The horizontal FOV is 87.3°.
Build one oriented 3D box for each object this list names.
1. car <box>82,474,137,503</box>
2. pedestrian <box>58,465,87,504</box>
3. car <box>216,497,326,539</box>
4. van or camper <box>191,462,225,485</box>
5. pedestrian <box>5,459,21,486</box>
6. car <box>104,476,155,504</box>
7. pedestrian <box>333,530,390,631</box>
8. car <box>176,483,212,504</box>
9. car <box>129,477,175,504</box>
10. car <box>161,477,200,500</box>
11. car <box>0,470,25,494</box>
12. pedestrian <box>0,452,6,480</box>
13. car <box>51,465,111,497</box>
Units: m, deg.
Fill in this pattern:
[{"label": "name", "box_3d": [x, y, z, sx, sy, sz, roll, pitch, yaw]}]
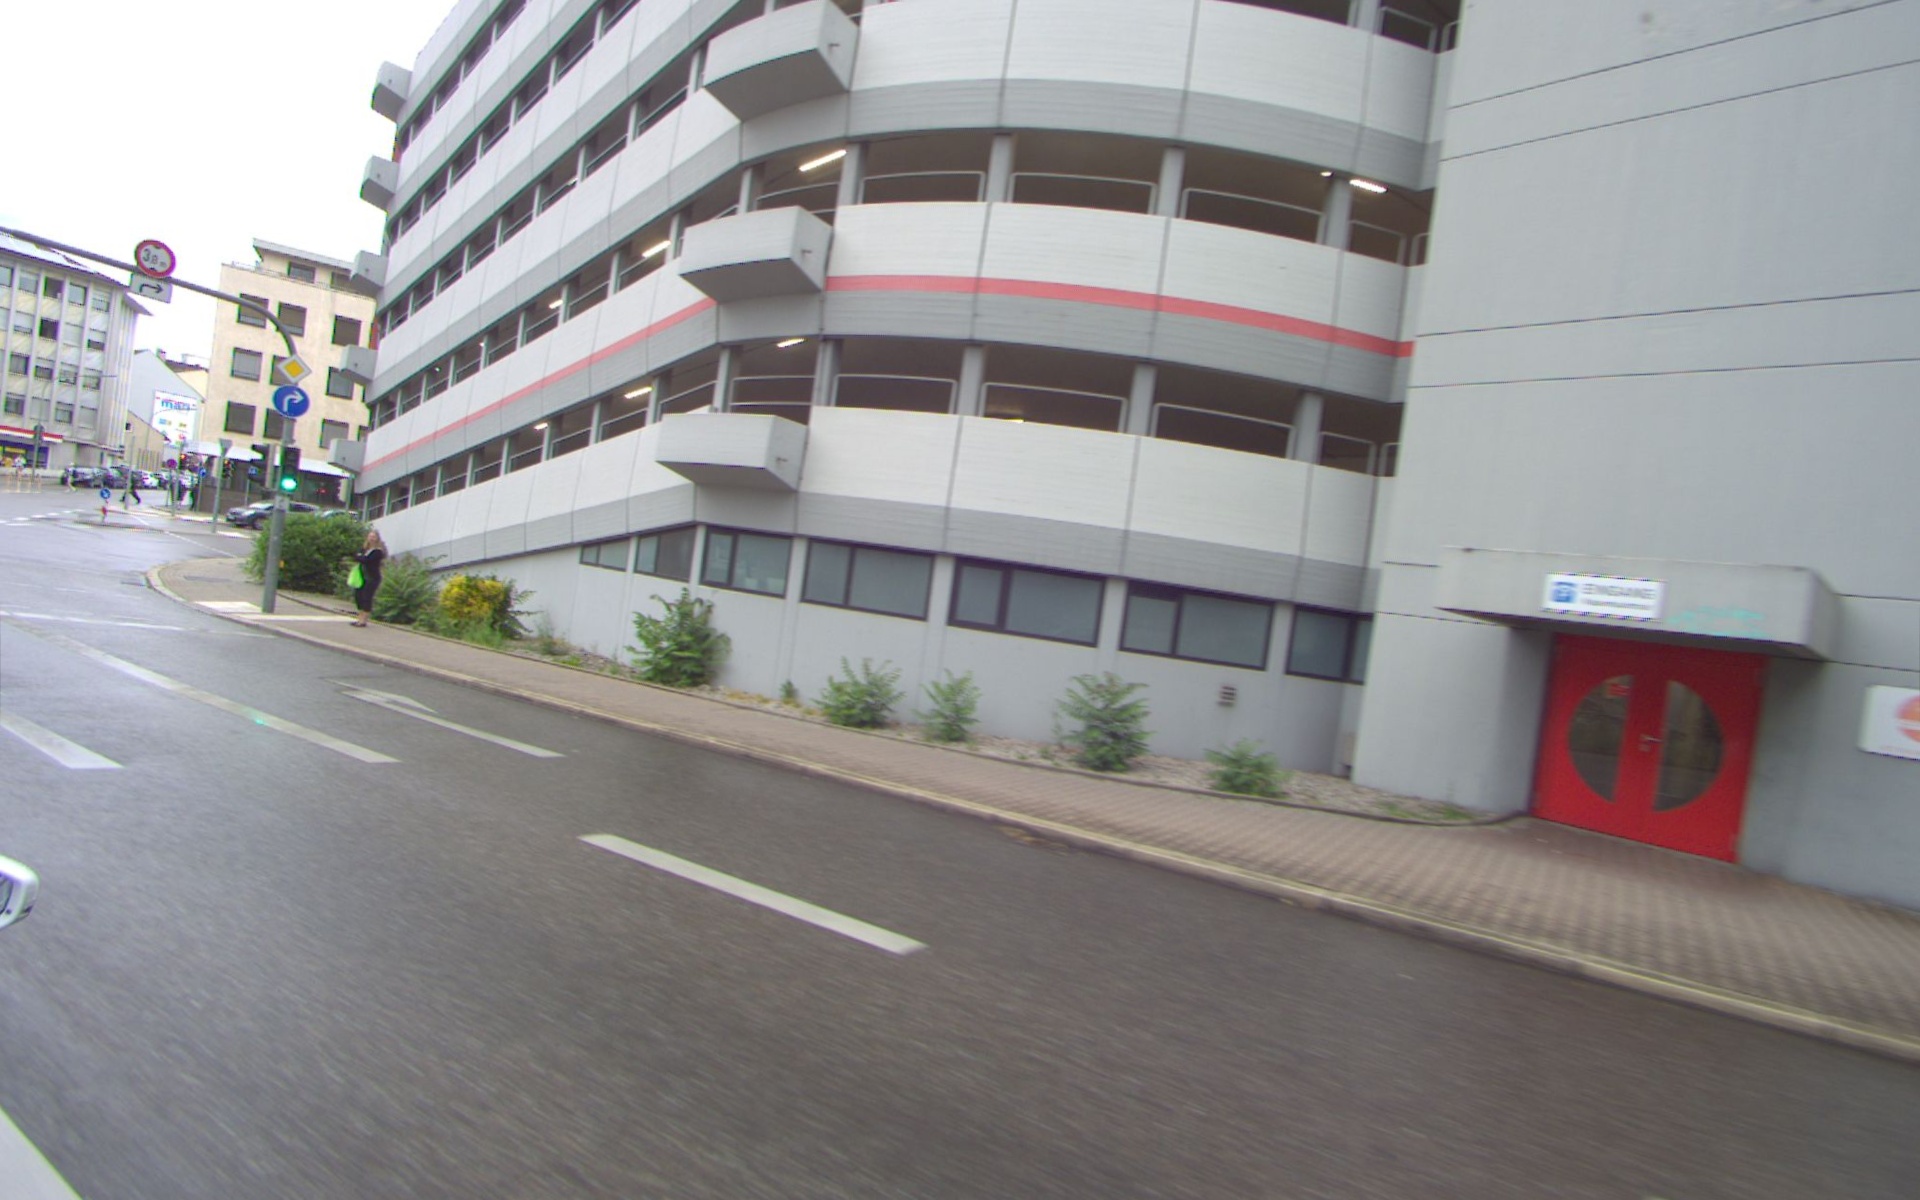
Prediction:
[{"label": "car", "box_3d": [-64.333, -8.408, 76.131, 1.974, 1.727, 3.977, 7, 0, -24]}, {"label": "pedestrian", "box_3d": [-53.111, -6.901, 60.216, 0.931, 2.155, 0.856, 7, 1, 26]}, {"label": "car", "box_3d": [-34.947, -4.122, 51.127, 1.831, 1.457, 4.181, 7, 0, 38]}, {"label": "van or camper", "box_3d": [-85.938, -14.439, 115.016, 1.974, 2.004, 4.487, 7, 0, -24]}, {"label": "pedestrian", "box_3d": [-62.324, -8.381, 66.201, 0.479, 1.659, 0.436, 8, -2, -29]}, {"label": "car", "box_3d": [-66.416, -8.804, 80.551, 1.974, 1.727, 3.977, 7, 0, -24]}, {"label": "pedestrian", "box_3d": [-10.818, -0.349, 18.209, 0.638, 1.730, 0.469, 7, -2, -22]}, {"label": "car", "box_3d": [-79.425, -11.033, 104.378, 1.974, 1.727, 3.977, 7, 0, -24]}, {"label": "car", "box_3d": [-68.870, -9.312, 85.817, 1.974, 1.727, 3.977, 7, 0, -24]}, {"label": "car", "box_3d": [-77.383, -11.012, 99.875, 1.974, 1.727, 3.977, 7, 0, -24]}, {"label": "car", "box_3d": [-71.267, -8.866, 74.076, 1.972, 1.413, 3.987, 8, -3, -19]}, {"label": "pedestrian", "box_3d": [-63.181, -8.830, 66.045, 0.522, 1.748, 0.683, 7, 1, -31]}, {"label": "car", "box_3d": [-62.334, -8.409, 71.405, 1.974, 1.727, 3.977, 7, 0, -24]}]
